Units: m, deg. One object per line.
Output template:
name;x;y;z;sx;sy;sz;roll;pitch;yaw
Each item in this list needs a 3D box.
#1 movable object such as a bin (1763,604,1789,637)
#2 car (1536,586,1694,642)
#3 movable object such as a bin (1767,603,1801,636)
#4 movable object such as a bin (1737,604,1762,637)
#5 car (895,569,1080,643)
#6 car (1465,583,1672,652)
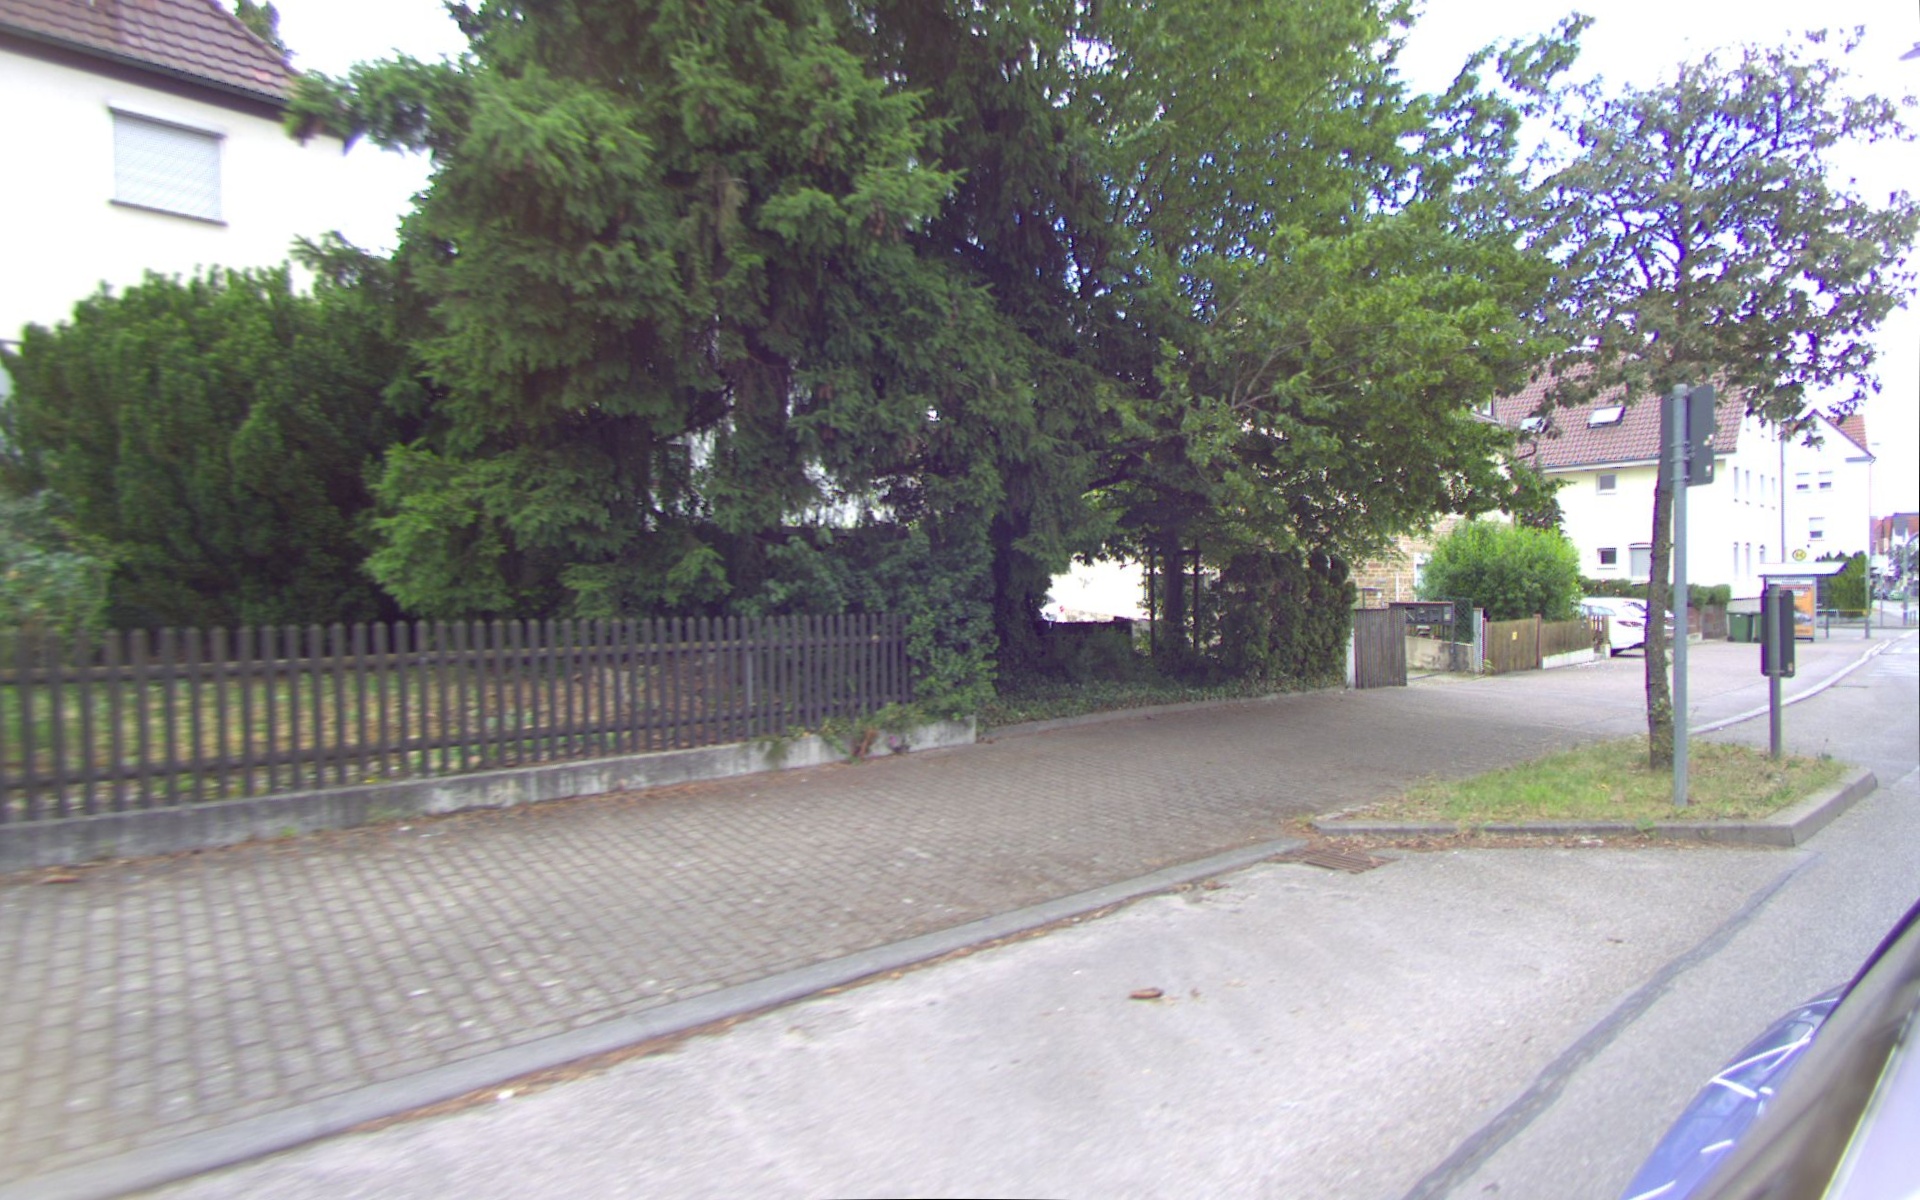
movable object such as a bin;27.006;0.665;33.476;0.635;1.059;0.577;-1;0;41
car;20.012;0.373;31.017;3.805;1.418;1.615;4;4;45
movable object such as a bin;27.625;0.643;33.930;0.579;1.059;0.639;-1;0;-16
movable object such as a bin;26.478;0.680;33.950;0.635;1.059;0.577;1;2;41
car;0.588;0.069;23.638;4.079;1.411;1.810;2;7;42
car;16.378;0.394;27.417;1.833;1.506;4.429;-2;4;-41
